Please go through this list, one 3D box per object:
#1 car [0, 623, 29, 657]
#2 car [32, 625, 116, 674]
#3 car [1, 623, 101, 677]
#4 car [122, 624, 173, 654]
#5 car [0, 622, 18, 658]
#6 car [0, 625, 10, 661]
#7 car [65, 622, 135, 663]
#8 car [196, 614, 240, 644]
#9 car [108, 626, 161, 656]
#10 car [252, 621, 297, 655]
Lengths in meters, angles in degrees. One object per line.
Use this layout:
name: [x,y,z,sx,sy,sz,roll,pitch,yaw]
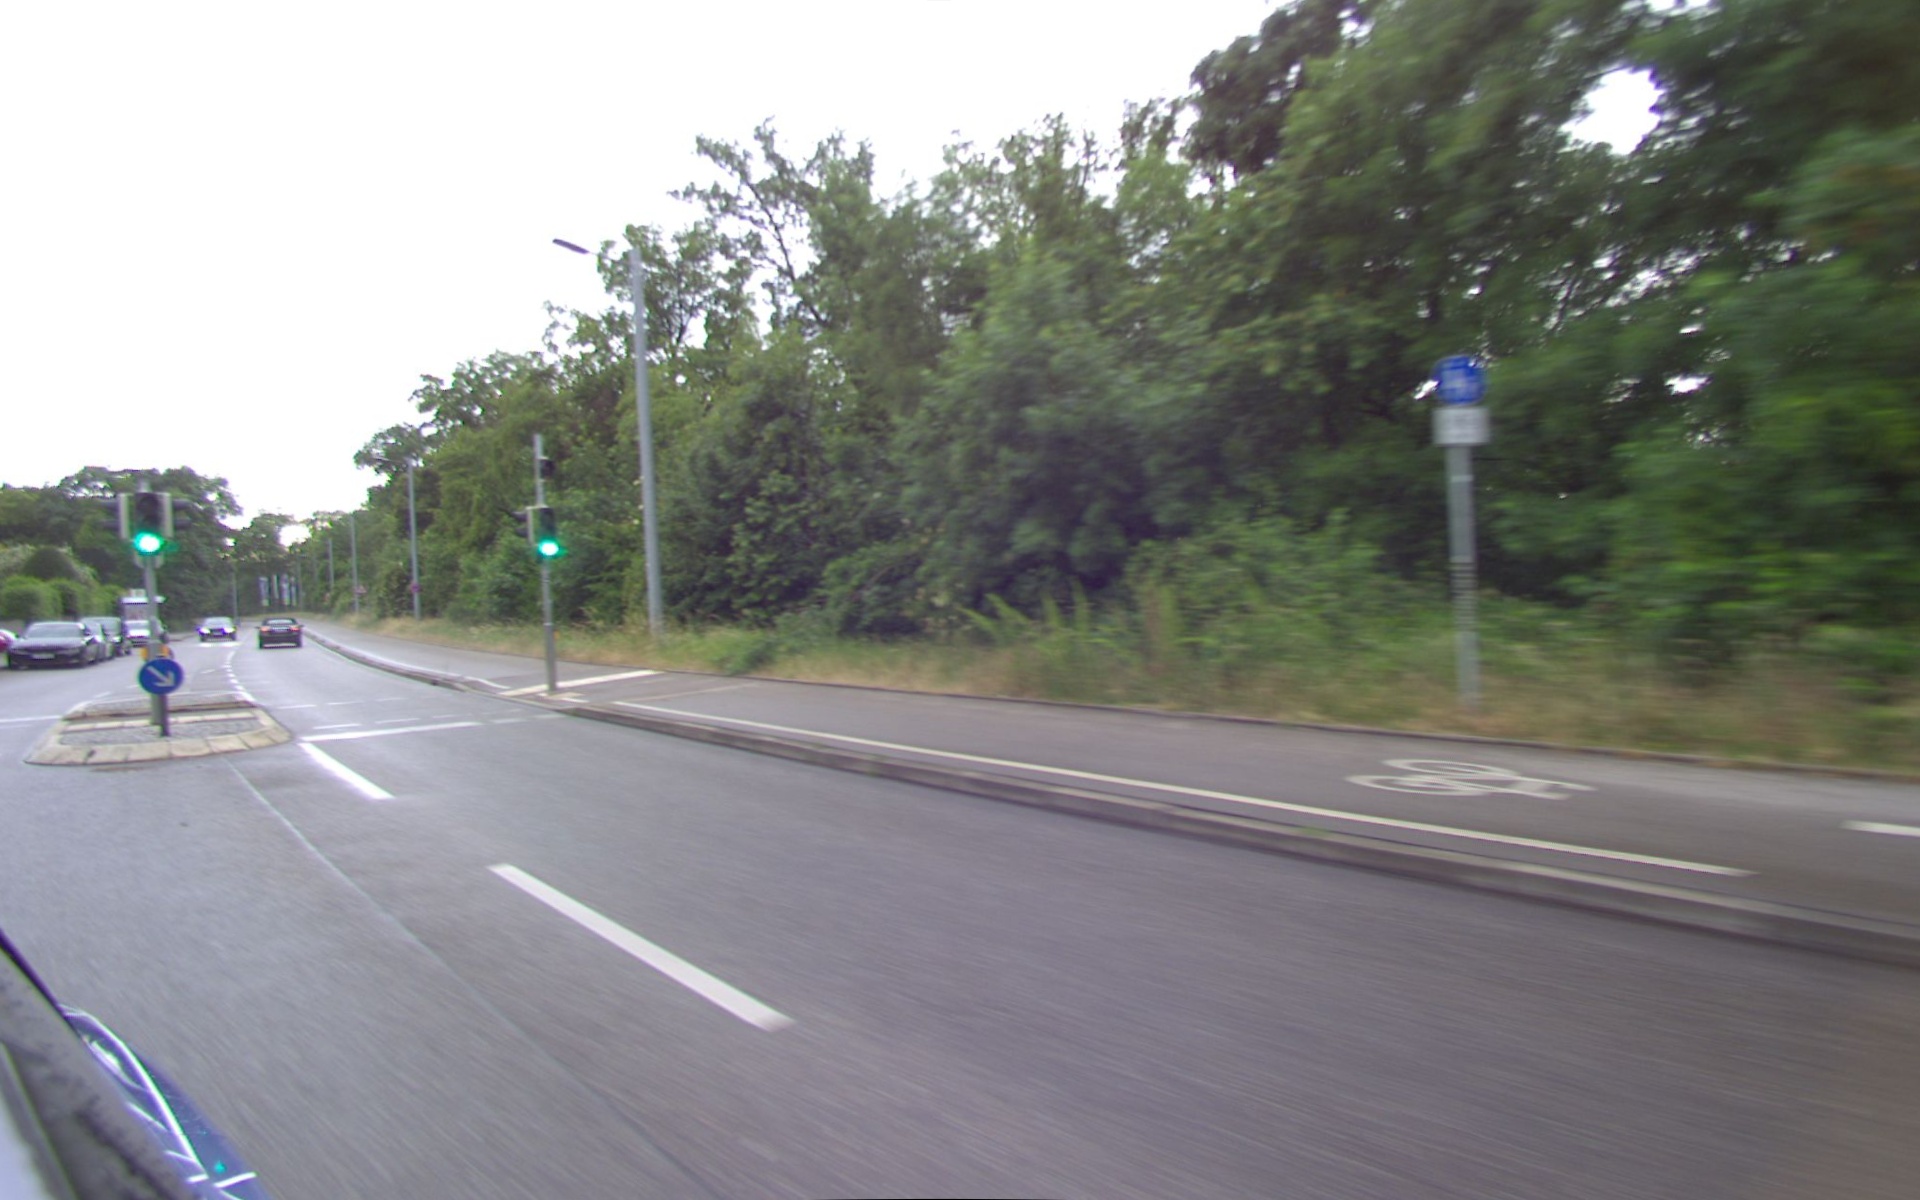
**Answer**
car: [-44.932,1.791,46.013,3.610,1.548,1.832,2,-3,-37]
car: [-31.873,1.716,36.532,1.769,1.498,4.507,-2,1,-35]
car: [-28.829,1.538,32.227,1.728,1.454,4.612,-2,1,-34]
car: [-47.044,2.224,58.677,1.805,1.559,4.643,-2,1,-33]
car: [-43.196,1.733,43.560,3.609,1.578,1.887,0,-1,-35]
car: [-42.214,1.845,41.716,4.188,1.471,1.887,-2,1,-35]
car: [-35.284,1.713,41.612,1.707,1.580,4.533,-1,-1,-34]
car: [-45.889,1.745,62.647,1.966,1.737,4.011,-1,0,-33]
car: [-44.612,2.165,54.736,1.788,1.408,4.114,-2,1,-33]
car: [-32.924,1.771,48.644,1.720,1.471,4.426,-1,0,-34]
